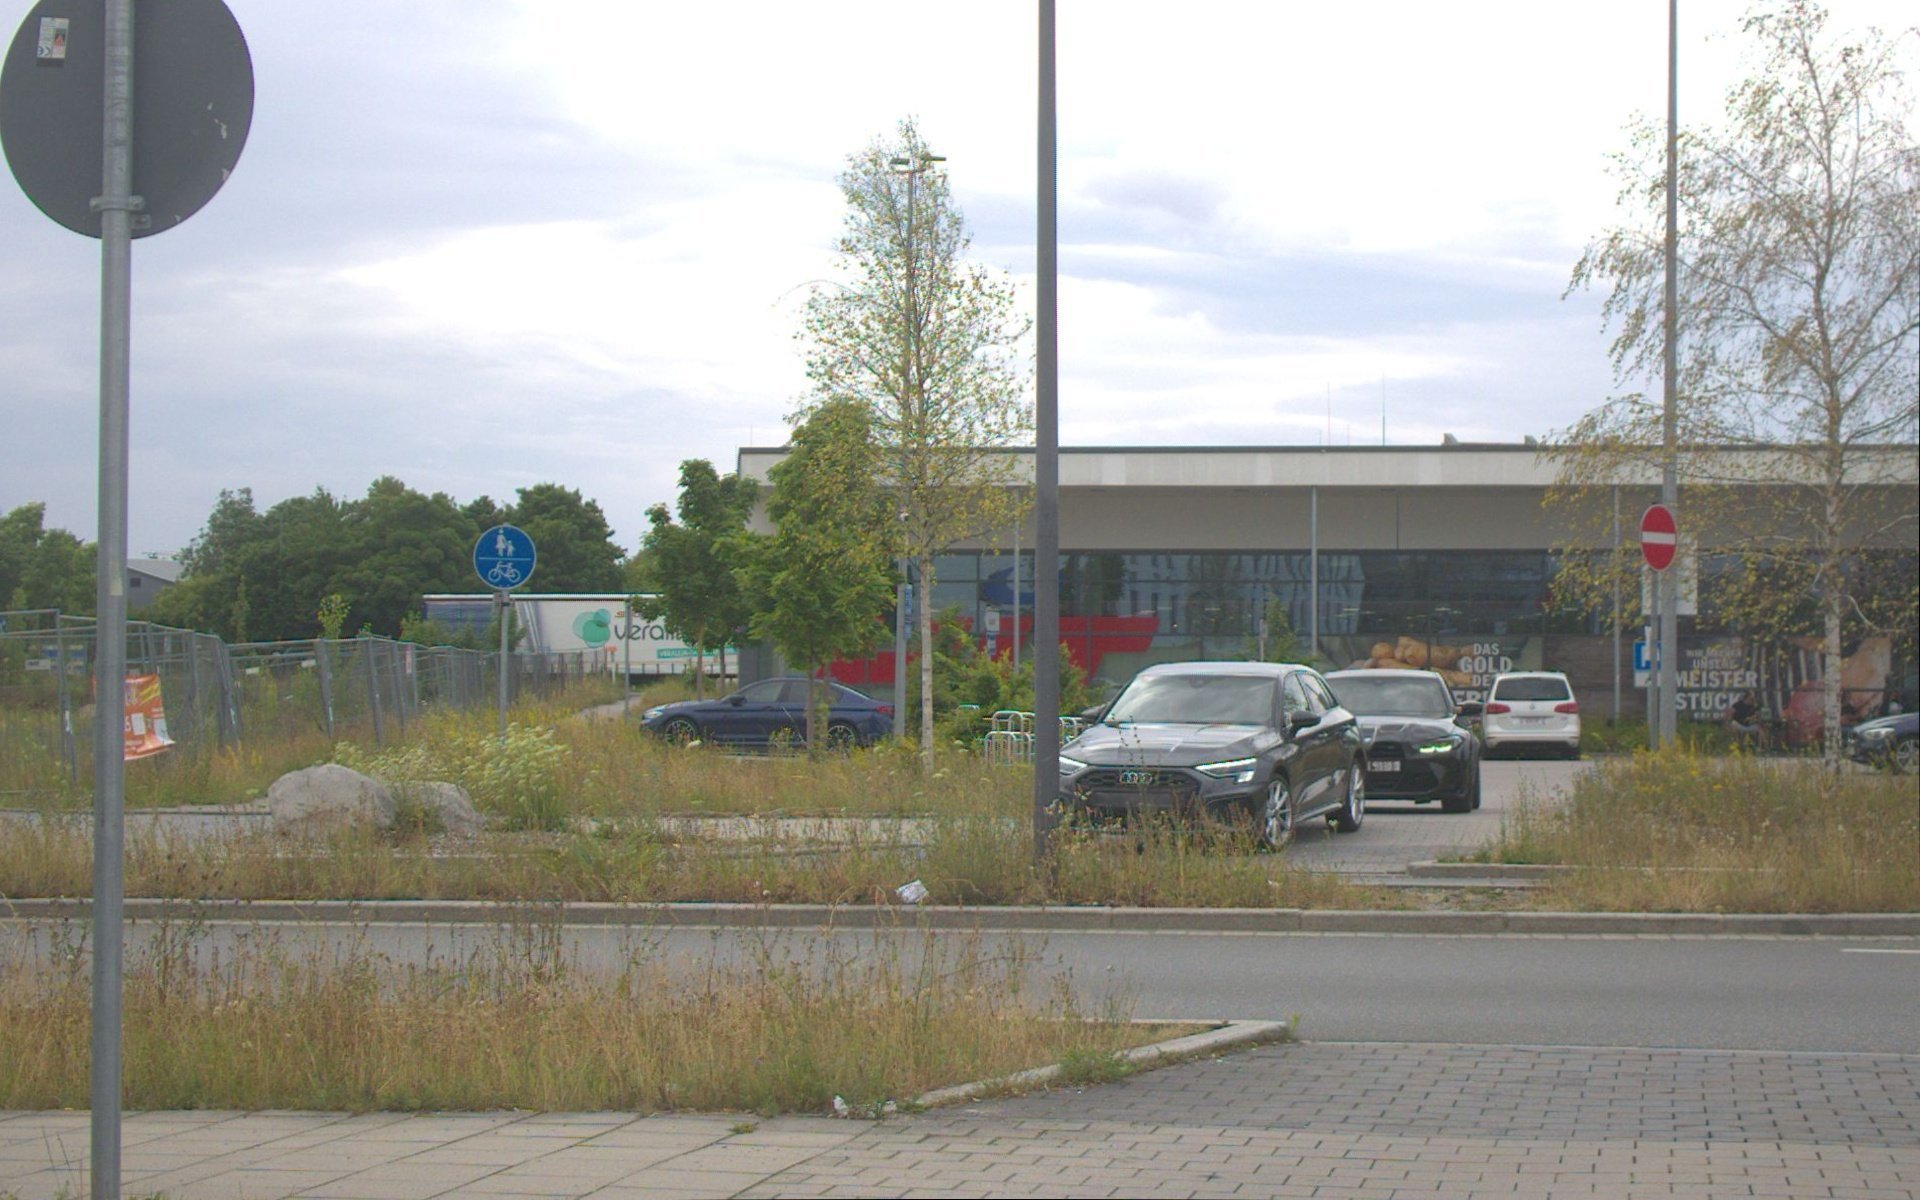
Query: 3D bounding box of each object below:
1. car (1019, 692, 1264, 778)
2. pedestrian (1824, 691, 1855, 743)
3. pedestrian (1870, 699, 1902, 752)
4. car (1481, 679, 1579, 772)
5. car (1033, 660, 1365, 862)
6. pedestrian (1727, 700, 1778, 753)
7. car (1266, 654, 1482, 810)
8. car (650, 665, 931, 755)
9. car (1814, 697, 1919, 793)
[{"bbox_3d":[3.071,2.248,57.598,3.988,1.347,1.999,1,-2,6],"label":"car"},{"bbox_3d":[19.168,2.557,74.925,0.576,1.120,0.561,0,-1,4],"label":"pedestrian"},{"bbox_3d":[19.899,2.696,73.883,0.576,1.120,0.561,0,-1,4],"label":"pedestrian"},{"bbox_3d":[11.185,2.424,67.311,1.825,1.694,4.231,0,0,10],"label":"car"},{"bbox_3d":[2.000,1.224,27.476,1.793,1.462,4.317,0,-1,16],"label":"car"},{"bbox_3d":[17.471,2.778,75.801,0.971,1.150,1.132,0,-1,6],"label":"pedestrian"},{"bbox_3d":[4.203,1.302,34.325,1.780,1.441,4.607,0,-2,11],"label":"car"},{"bbox_3d":[-3.119,2.048,64.110,5.008,1.552,1.999,1,-2,4],"label":"car"},{"bbox_3d":[15.183,2.246,53.281,3.608,1.449,1.667,0,-1,7],"label":"car"}]
